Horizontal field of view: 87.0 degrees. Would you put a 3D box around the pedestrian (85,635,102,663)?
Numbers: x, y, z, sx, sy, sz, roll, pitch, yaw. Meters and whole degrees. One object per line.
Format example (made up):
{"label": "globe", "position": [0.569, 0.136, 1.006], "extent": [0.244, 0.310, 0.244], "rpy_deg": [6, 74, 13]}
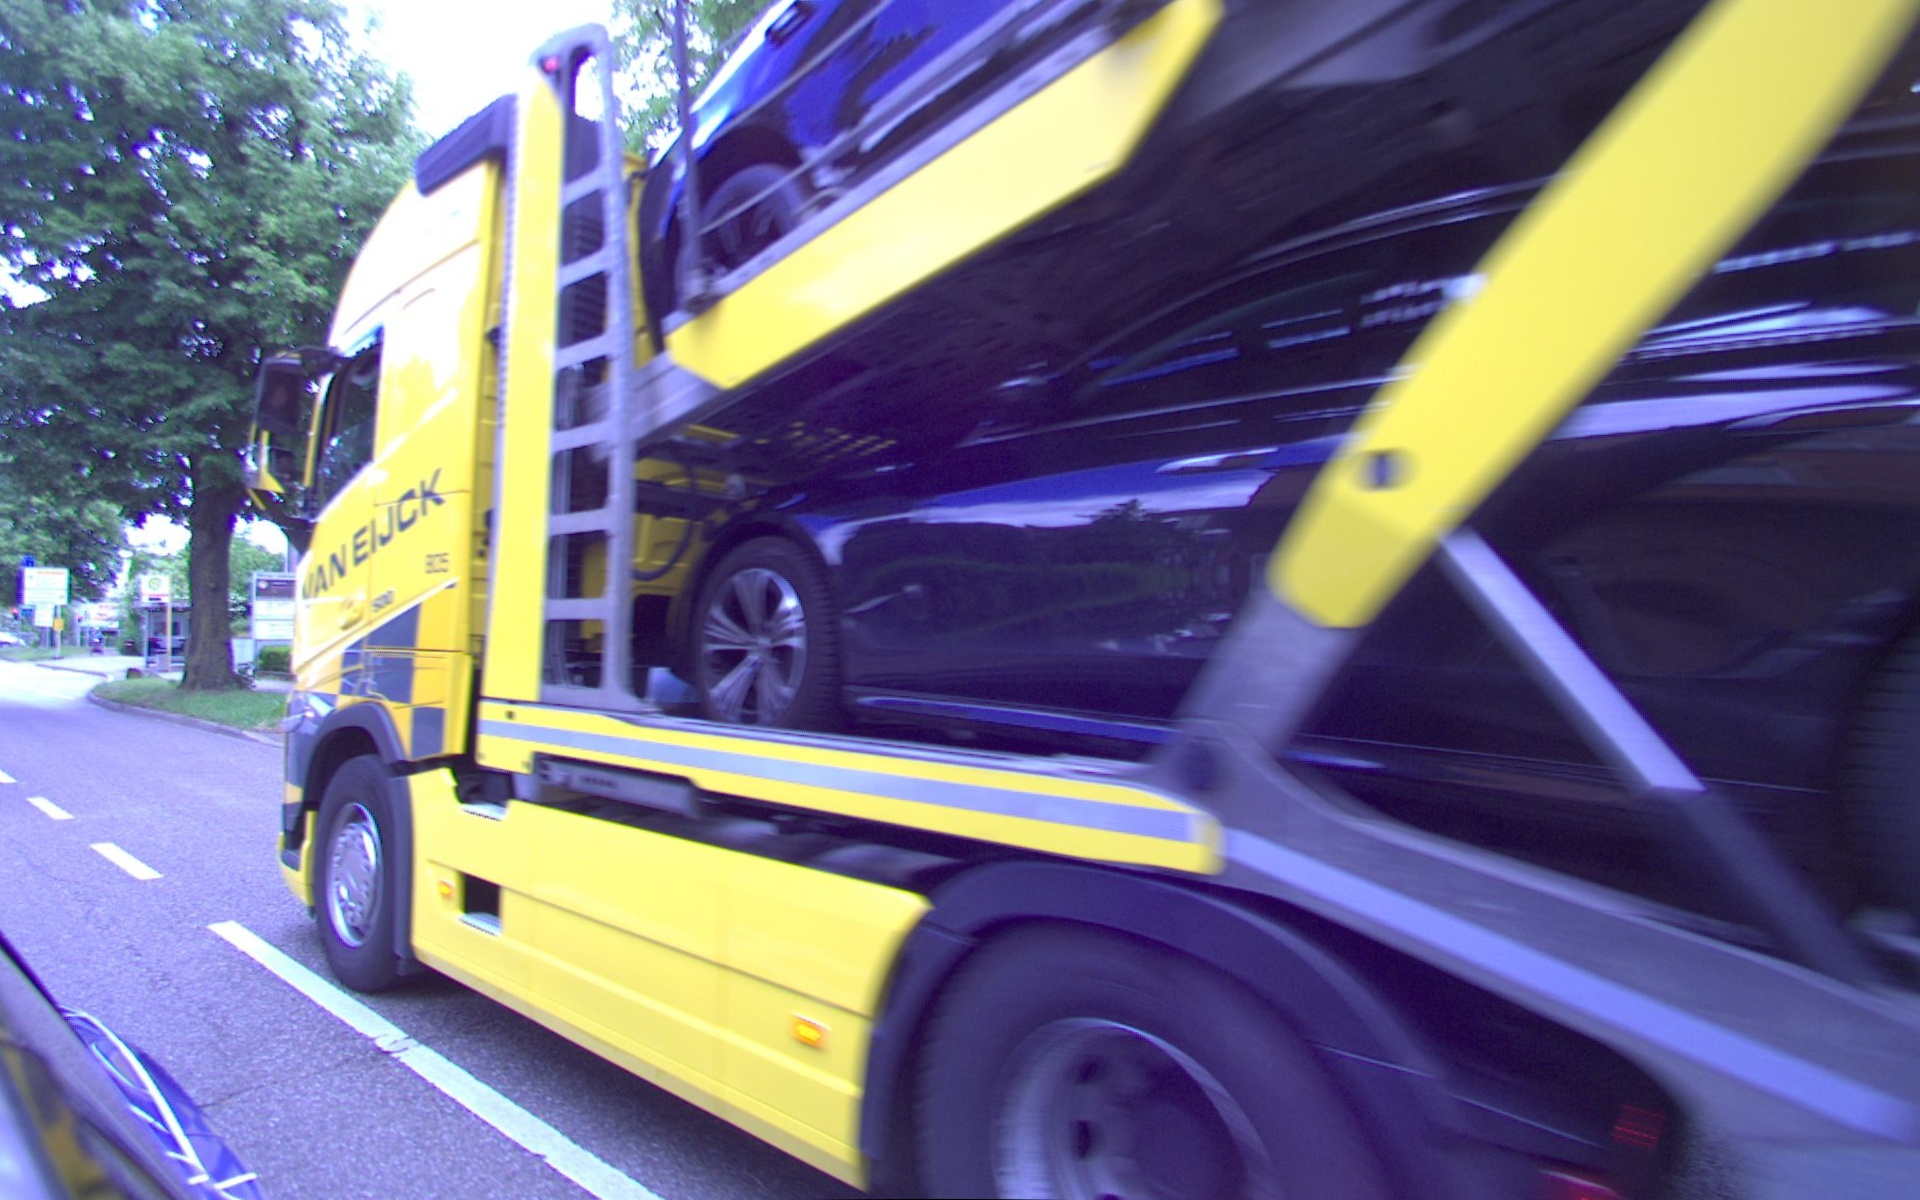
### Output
{"label": "pedestrian", "position": [-49.271, 2.789, 57.523], "extent": [0.662, 1.570, 0.521], "rpy_deg": [0, -1, -33]}

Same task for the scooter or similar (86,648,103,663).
{"label": "scooter or similar", "position": [-48.615, 3.125, 56.839], "extent": [0.598, 0.793, 0.861], "rpy_deg": [0, -1, -33]}

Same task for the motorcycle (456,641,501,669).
{"label": "motorcycle", "position": [-20.646, 2.355, 43.407], "extent": [0.639, 1.148, 1.624], "rpy_deg": [-1, -1, 41]}

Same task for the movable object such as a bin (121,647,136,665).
{"label": "movable object such as a bin", "position": [-46.383, 3.120, 56.474], "extent": [0.558, 0.934, 0.609], "rpy_deg": [1, -1, -34]}

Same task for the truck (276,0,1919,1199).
{"label": "truck", "position": [0.505, -0.413, 3.431], "extent": [7.665, 3.811, 2.814], "rpy_deg": [-1, -1, 41]}

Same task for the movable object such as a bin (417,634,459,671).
{"label": "movable object such as a bin", "position": [-21.688, 2.178, 42.068], "extent": [0.884, 1.476, 1.347], "rpy_deg": [-1, -1, 40]}

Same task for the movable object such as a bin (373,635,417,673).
{"label": "movable object such as a bin", "position": [-22.802, 2.168, 40.840], "extent": [0.992, 1.476, 1.285], "rpy_deg": [-1, -1, 40]}

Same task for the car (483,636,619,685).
{"label": "car", "position": [-14.188, 2.061, 35.167], "extent": [4.082, 1.490, 1.817], "rpy_deg": [0, -1, -35]}
